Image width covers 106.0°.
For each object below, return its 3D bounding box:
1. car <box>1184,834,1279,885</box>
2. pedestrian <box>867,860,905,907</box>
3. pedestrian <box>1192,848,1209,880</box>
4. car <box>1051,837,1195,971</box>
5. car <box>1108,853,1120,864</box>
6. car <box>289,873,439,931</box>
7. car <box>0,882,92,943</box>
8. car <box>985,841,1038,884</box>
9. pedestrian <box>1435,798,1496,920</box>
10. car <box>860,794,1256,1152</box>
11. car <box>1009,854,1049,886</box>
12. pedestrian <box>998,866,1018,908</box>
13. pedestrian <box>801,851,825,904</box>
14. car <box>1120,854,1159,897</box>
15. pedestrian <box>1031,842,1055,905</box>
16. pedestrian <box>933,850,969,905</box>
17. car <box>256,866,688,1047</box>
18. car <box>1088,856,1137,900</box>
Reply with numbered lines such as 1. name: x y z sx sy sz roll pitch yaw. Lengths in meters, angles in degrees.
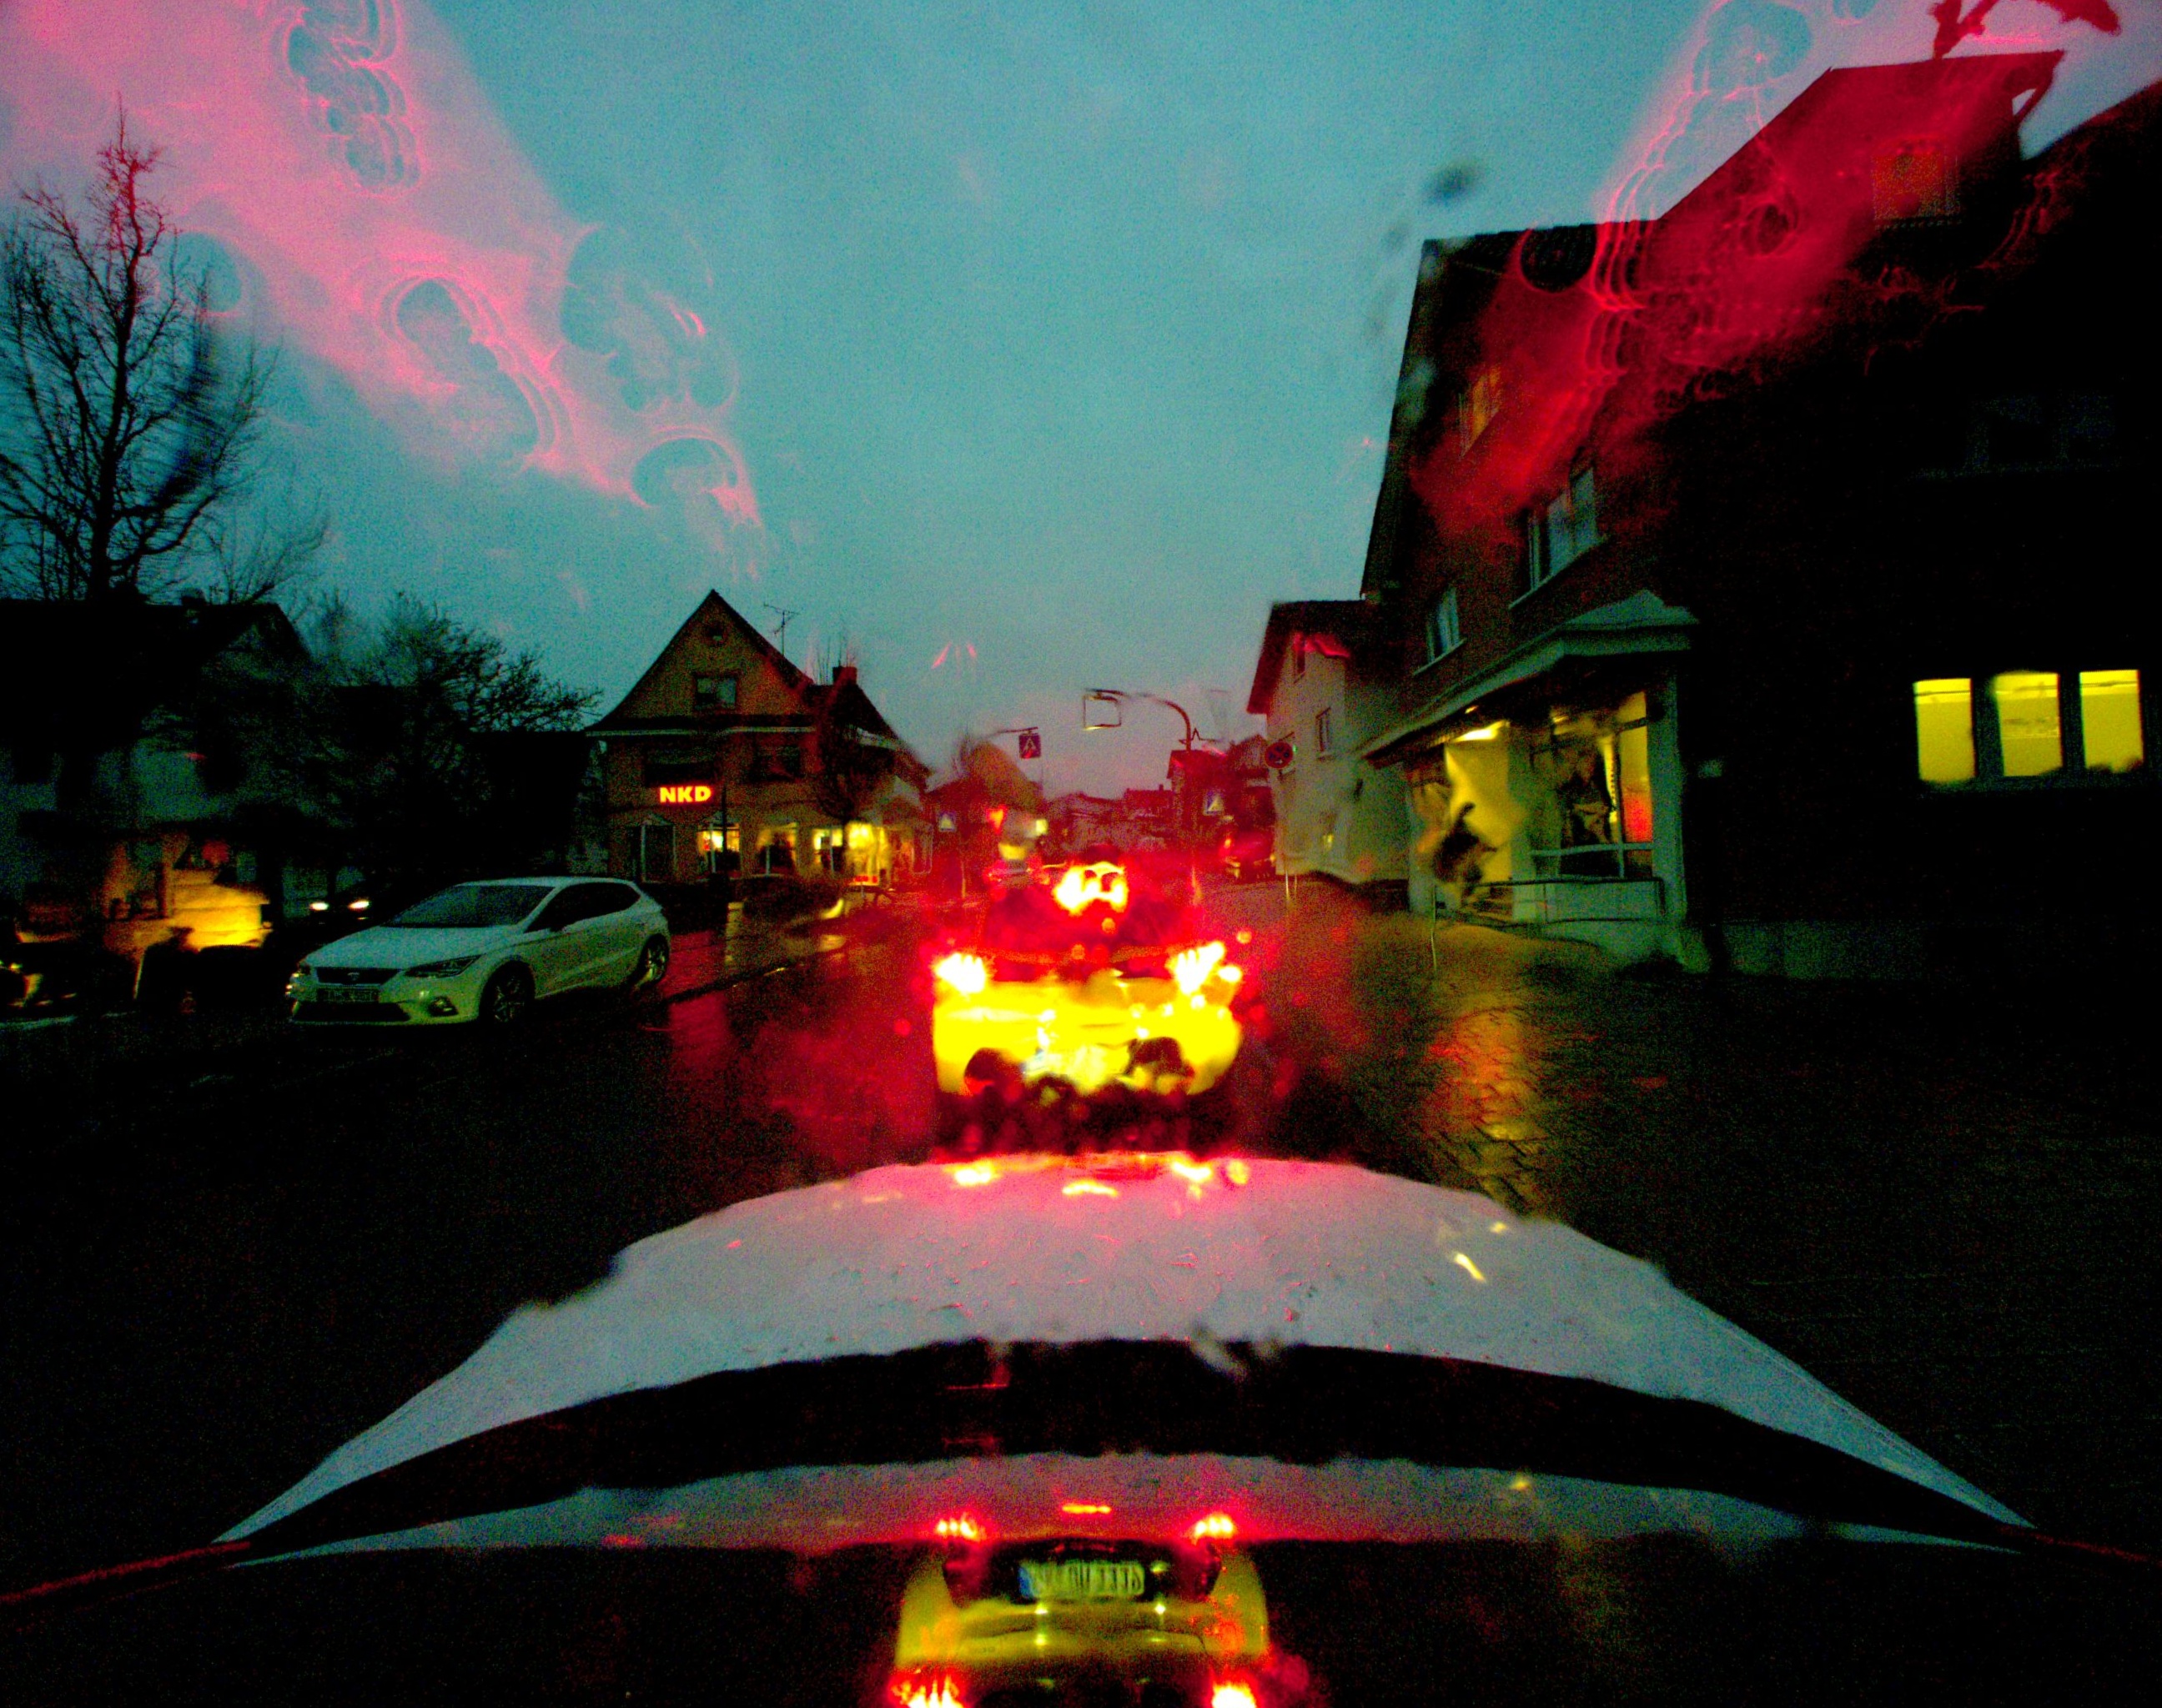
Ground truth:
1. car: 6.130 0.237 33.412 3.679 2.014 1.691 -1 -1 5
2. pedestrian: -6.330 0.947 26.451 0.886 1.417 0.777 5 -1 6
3. pedestrian: 7.574 0.636 51.525 1.011 2.014 1.277 -1 -1 7
4. car: 0.640 0.653 12.256 1.790 1.662 4.003 -1 -1 3
5. car: 4.614 0.628 113.489 1.528 1.245 3.650 -6 1 3
6. car: -23.822 1.533 27.280 1.848 1.720 3.989 -1 -1 -8
7. car: -29.340 1.562 21.508 3.894 1.519 1.608 -1 0 -12
8. car: -3.467 0.409 41.405 1.985 2.014 4.366 -1 0 4
9. pedestrian: 6.176 0.083 13.129 0.659 1.888 0.826 -1 -1 8
10. car: 0.062 0.602 6.480 1.984 1.795 4.654 -2 0 5
11. car: -3.034 0.912 48.417 1.986 1.752 4.362 -1 0 1
12. pedestrian: -2.179 0.989 24.373 0.551 1.233 0.433 -1 -1 -2
13. pedestrian: -8.957 0.770 27.226 0.586 1.742 0.683 -1 -1 -3
14. car: 2.978 1.057 42.061 1.637 2.013 3.999 -3 0 -1
15. pedestrian: -1.136 0.569 24.433 0.701 1.876 0.616 0 0 -4
16. pedestrian: -4.185 0.729 26.367 0.969 1.742 0.962 0 0 2
17. car: -6.227 0.911 9.031 1.663 1.516 4.002 0 0 2
18. car: 1.343 0.922 32.976 1.819 1.601 4.586 -1 0 4
